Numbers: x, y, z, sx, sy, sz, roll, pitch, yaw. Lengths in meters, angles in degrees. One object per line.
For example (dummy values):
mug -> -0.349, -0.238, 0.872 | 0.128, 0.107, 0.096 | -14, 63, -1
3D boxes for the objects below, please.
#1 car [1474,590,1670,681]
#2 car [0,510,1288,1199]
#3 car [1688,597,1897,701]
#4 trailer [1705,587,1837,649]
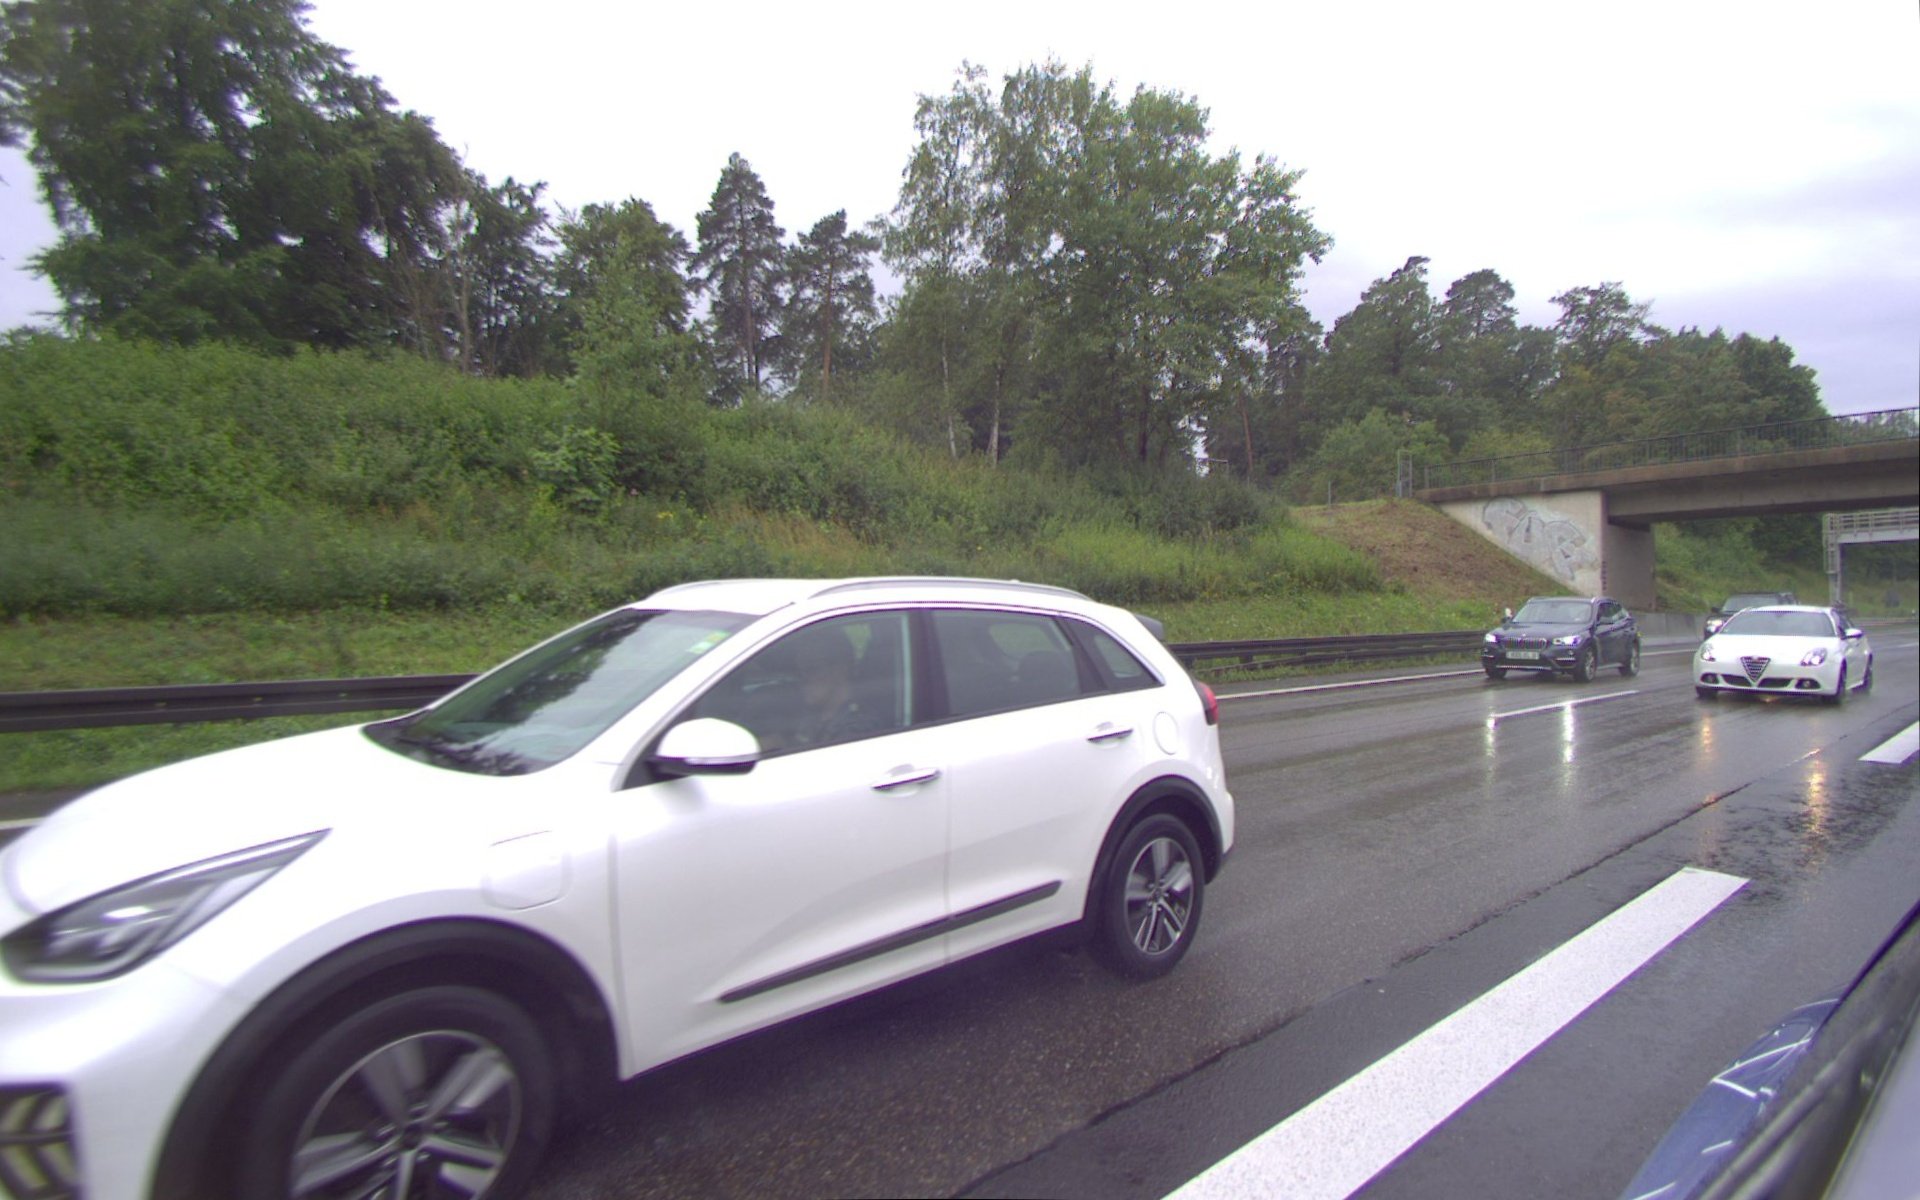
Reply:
car -> 12.313, 0.623, 20.240 | 4.683, 1.604, 1.993 | 0, 0, -40
car -> -0.737, 0.614, 3.772 | 4.268, 1.542, 1.848 | 0, 0, -42
car -> 13.489, 0.681, 16.310 | 4.404, 1.443, 1.893 | 0, 0, -41
trailer -> 24.794, 0.501, 30.894 | 4.992, 1.736, 2.247 | 0, 0, -40
